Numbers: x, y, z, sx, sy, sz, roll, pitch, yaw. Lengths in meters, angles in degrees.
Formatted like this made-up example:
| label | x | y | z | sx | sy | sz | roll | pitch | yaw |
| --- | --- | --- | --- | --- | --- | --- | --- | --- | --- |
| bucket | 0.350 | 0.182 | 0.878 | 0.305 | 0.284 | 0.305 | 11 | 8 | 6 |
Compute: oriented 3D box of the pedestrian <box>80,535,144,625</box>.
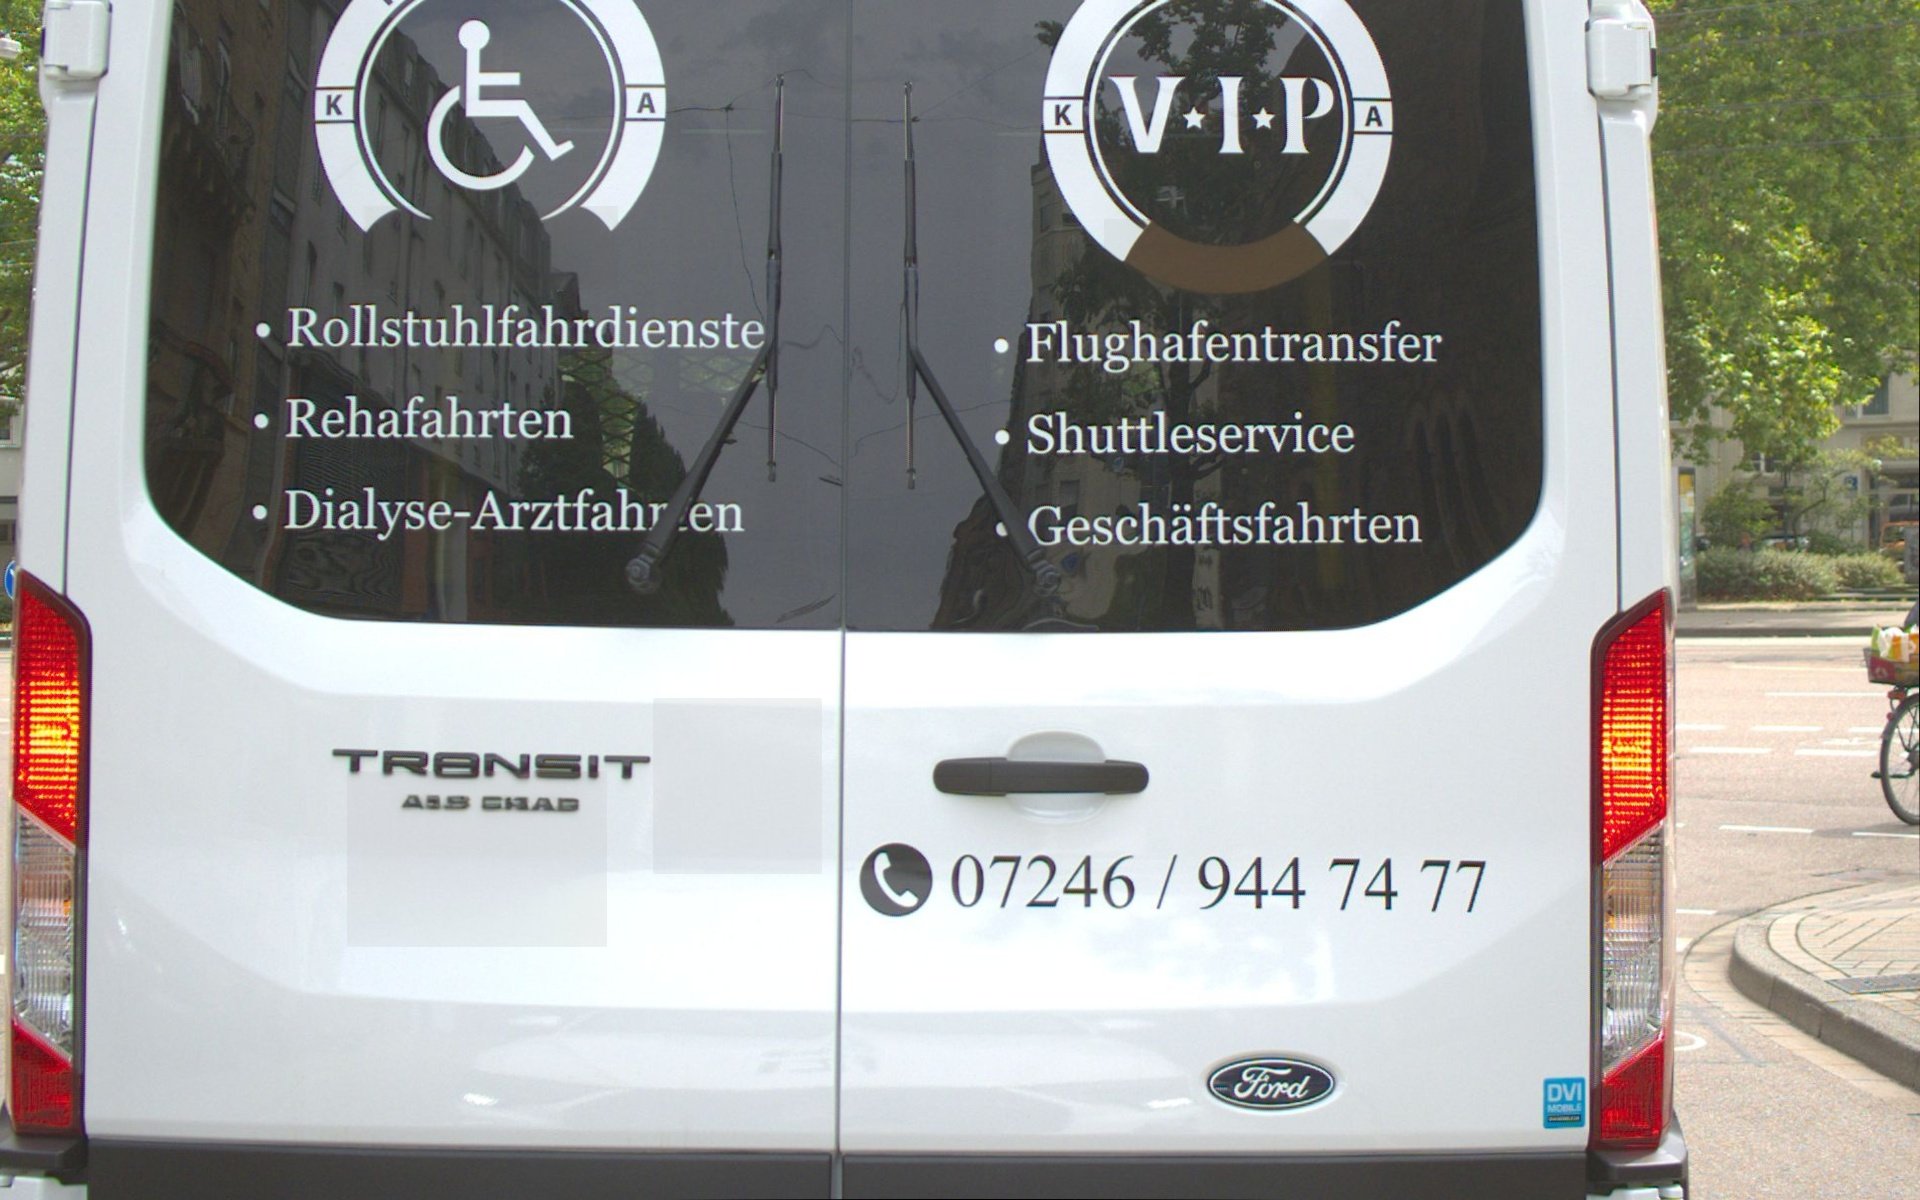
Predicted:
| label | x | y | z | sx | sy | sz | roll | pitch | yaw |
| --- | --- | --- | --- | --- | --- | --- | --- | --- | --- |
| pedestrian | -15.000 | -0.355 | 60.841 | 0.808 | 1.567 | 0.723 | 0 | 1 | 24 |

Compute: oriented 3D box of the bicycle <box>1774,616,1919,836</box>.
| label | x | y | z | sx | sy | sz | roll | pitch | yaw |
| --- | --- | --- | --- | --- | --- | --- | --- | --- | --- |
| bicycle | 5.308 | 0.642 | 18.516 | 0.905 | 1.071 | 1.965 | 1 | 2 | 45 |

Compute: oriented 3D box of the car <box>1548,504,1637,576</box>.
| label | x | y | z | sx | sy | sz | roll | pitch | yaw |
| --- | --- | --- | --- | --- | --- | --- | --- | --- | --- |
| car | 17.449 | -1.672 | 94.971 | 1.994 | 1.924 | 4.000 | -1 | 1 | 4 |

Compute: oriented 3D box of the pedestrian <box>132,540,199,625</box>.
| label | x | y | z | sx | sy | sz | roll | pitch | yaw |
| --- | --- | --- | --- | --- | --- | --- | --- | --- | --- |
| pedestrian | -14.250 | -0.318 | 61.635 | 0.931 | 1.509 | 0.722 | 0 | 1 | 37 |

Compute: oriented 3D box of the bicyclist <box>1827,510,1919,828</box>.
| label | x | y | z | sx | sy | sz | roll | pitch | yaw |
| --- | --- | --- | --- | --- | --- | --- | --- | --- | --- |
| bicyclist | 5.268 | 0.355 | 18.500 | 0.906 | 1.677 | 0.755 | 1 | 2 | 44 |

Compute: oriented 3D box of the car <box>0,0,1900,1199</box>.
| label | x | y | z | sx | sy | sz | roll | pitch | yaw |
| --- | --- | --- | --- | --- | --- | --- | --- | --- | --- |
| car | -0.214 | 0.053 | 5.769 | 2.181 | 2.638 | 4.629 | 0 | 2 | -2 |

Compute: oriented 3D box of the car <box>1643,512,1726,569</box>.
| label | x | y | z | sx | sy | sz | roll | pitch | yaw |
| --- | --- | --- | --- | --- | --- | --- | --- | --- | --- |
| car | 22.003 | -1.807 | 104.331 | 1.806 | 1.678 | 3.996 | 0 | 1 | 21 |
